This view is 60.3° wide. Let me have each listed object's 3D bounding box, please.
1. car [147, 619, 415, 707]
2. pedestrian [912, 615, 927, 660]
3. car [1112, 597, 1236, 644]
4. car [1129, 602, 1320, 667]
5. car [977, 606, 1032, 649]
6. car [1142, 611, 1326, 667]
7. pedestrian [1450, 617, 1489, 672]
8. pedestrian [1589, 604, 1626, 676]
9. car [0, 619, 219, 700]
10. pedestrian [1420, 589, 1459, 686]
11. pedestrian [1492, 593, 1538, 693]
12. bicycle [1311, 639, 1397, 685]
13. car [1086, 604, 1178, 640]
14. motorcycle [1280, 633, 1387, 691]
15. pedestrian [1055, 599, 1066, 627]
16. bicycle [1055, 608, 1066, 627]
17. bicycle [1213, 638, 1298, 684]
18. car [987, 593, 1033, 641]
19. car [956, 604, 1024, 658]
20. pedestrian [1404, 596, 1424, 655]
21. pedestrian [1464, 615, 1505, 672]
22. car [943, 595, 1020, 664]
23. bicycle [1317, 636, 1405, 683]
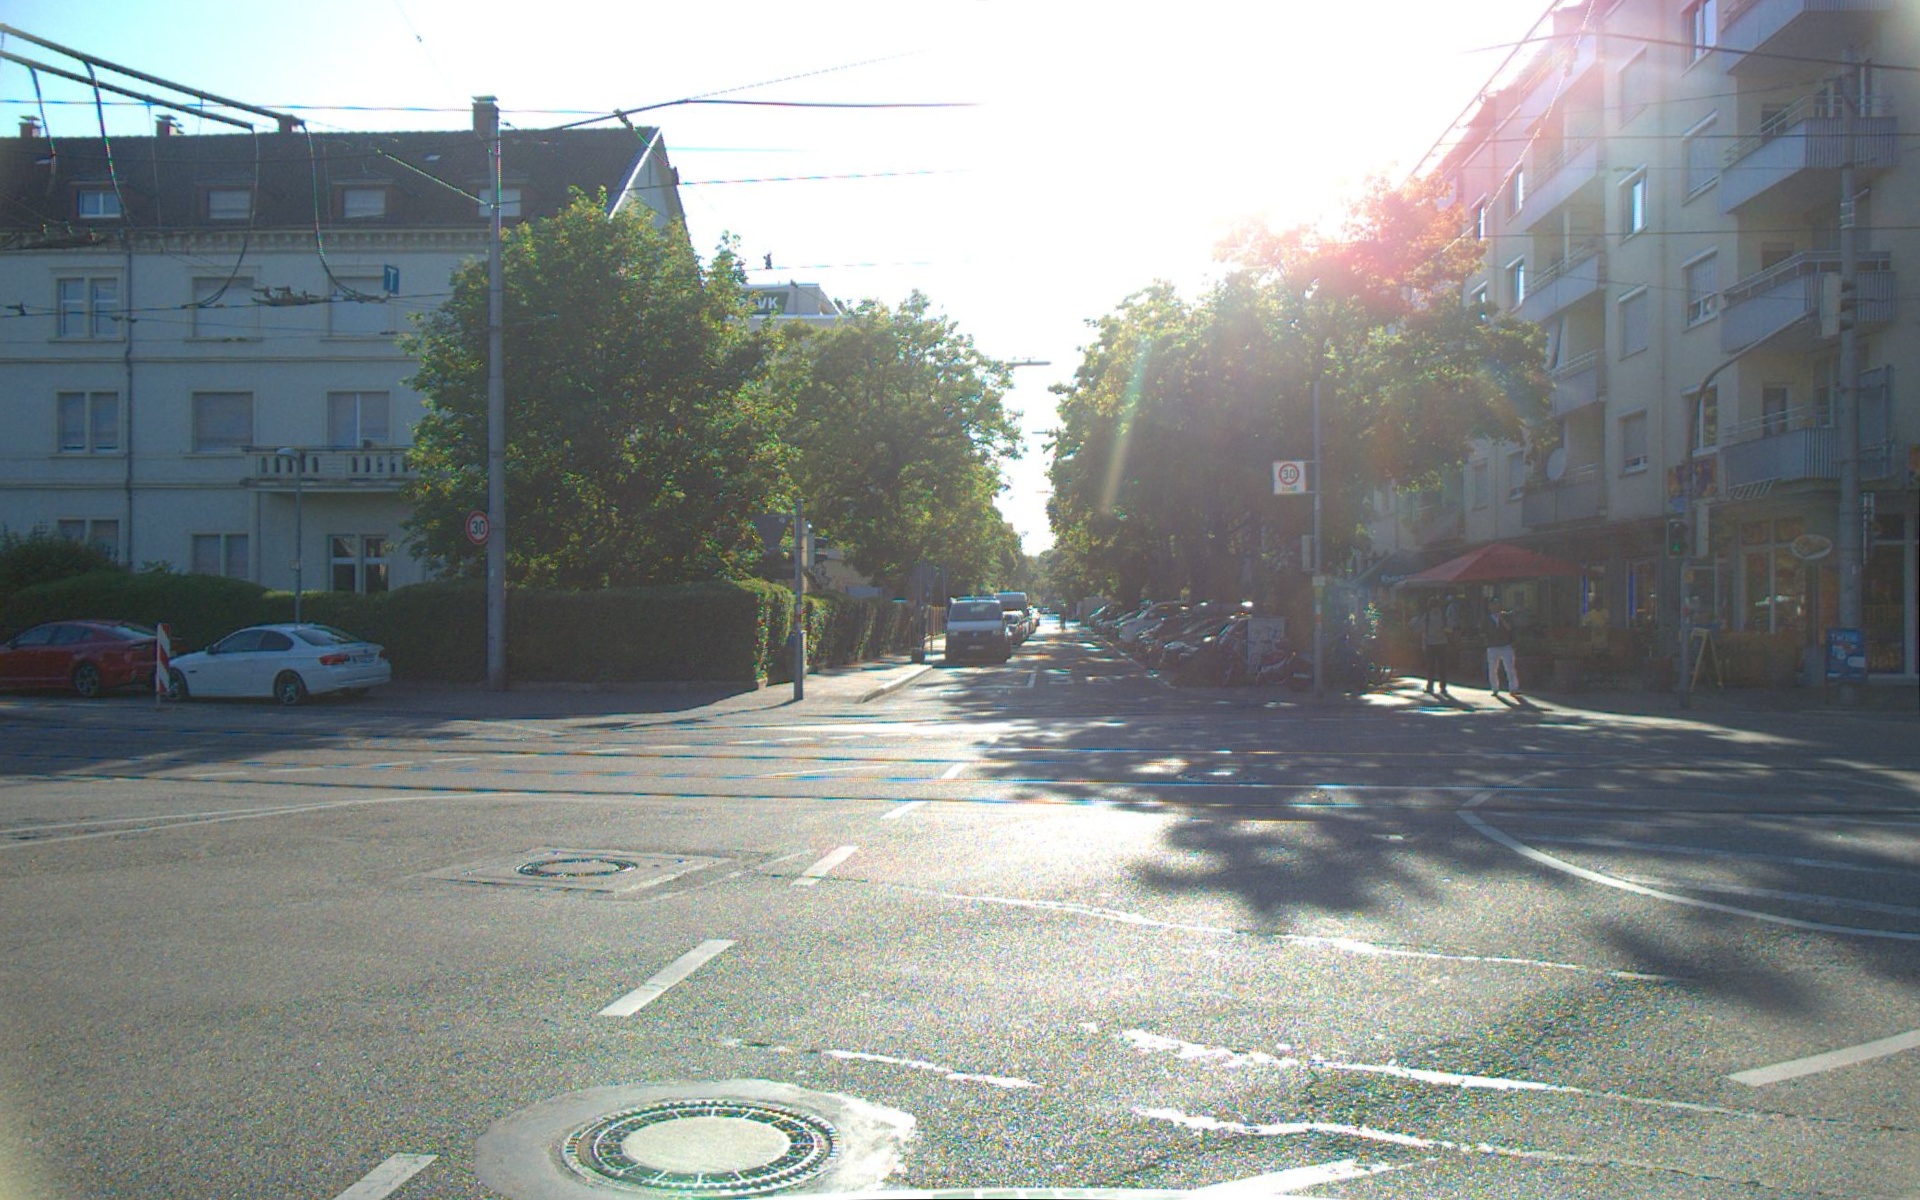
[{"bbox_3d":[-12.371,1.102,30.159,4.390,1.400,1.931,0,2,21],"label":"car"},{"bbox_3d":[-1.598,1.487,65.412,0.567,1.761,0.608,1,-1,-3],"label":"pedestrian"},{"bbox_3d":[9.123,0.893,70.784,4.986,1.958,2.362,0,-2,0],"label":"car"},{"bbox_3d":[8.064,1.082,50.906,5.505,1.958,2.362,0,-2,0],"label":"car"},{"bbox_3d":[1.918,1.204,73.666,2.306,1.826,5.309,0,0,0],"label":"car"},{"bbox_3d":[7.936,1.158,48.315,4.986,1.584,2.362,0,-2,0],"label":"car"},{"bbox_3d":[12.832,1.114,41.676,0.794,1.386,0.914,0,-1,8],"label":"pedestrian"},{"bbox_3d":[14.533,0.890,37.107,0.606,1.619,0.477,0,-1,-14],"label":"pedestrian"},{"bbox_3d":[-17.035,1.111,32.197,4.591,1.400,1.988,0,2,18],"label":"car"},{"bbox_3d":[8.930,0.696,30.815,0.676,1.781,0.795,0,-1,18],"label":"pedestrian"},{"bbox_3d":[10.049,0.762,29.948,0.676,1.781,0.841,0,-1,11],"label":"pedestrian"},{"bbox_3d":[8.315,1.311,34.966,1.687,0.949,0.562,0,-1,2],"label":"bicycle"},{"bbox_3d":[9.795,1.269,94.501,4.986,1.958,2.362,0,-2,0],"label":"car"},{"bbox_3d":[7.380,1.217,32.736,1.913,1.129,0.837,0,-1,-3],"label":"motorcycle"},{"bbox_3d":[7.195,0.926,118.427,0.721,2.049,0.743,0,-1,2],"label":"pedestrian"},{"bbox_3d":[7.206,1.276,118.463,0.750,1.347,1.924,0,0,3],"label":"bicycle"},{"bbox_3d":[6.204,1.286,34.796,1.687,0.949,0.672,0,-1,2],"label":"bicycle"},{"bbox_3d":[2.668,0.911,89.535,2.306,2.559,5.309,0,-1,0],"label":"car"},{"bbox_3d":[1.021,1.059,58.570,2.306,1.826,5.309,0,0,0],"label":"car"},{"bbox_3d":[15.789,0.877,57.479,0.525,2.049,0.511,0,-1,-5],"label":"pedestrian"},{"bbox_3d":[12.788,1.059,40.347,0.794,1.386,0.914,0,-1,8],"label":"pedestrian"},{"bbox_3d":[0.651,0.911,52.369,2.306,2.049,5.309,0,-1,0],"label":"car"},{"bbox_3d":[8.286,1.233,34.199,1.687,0.949,0.562,0,-1,2],"label":"bicycle"}]
